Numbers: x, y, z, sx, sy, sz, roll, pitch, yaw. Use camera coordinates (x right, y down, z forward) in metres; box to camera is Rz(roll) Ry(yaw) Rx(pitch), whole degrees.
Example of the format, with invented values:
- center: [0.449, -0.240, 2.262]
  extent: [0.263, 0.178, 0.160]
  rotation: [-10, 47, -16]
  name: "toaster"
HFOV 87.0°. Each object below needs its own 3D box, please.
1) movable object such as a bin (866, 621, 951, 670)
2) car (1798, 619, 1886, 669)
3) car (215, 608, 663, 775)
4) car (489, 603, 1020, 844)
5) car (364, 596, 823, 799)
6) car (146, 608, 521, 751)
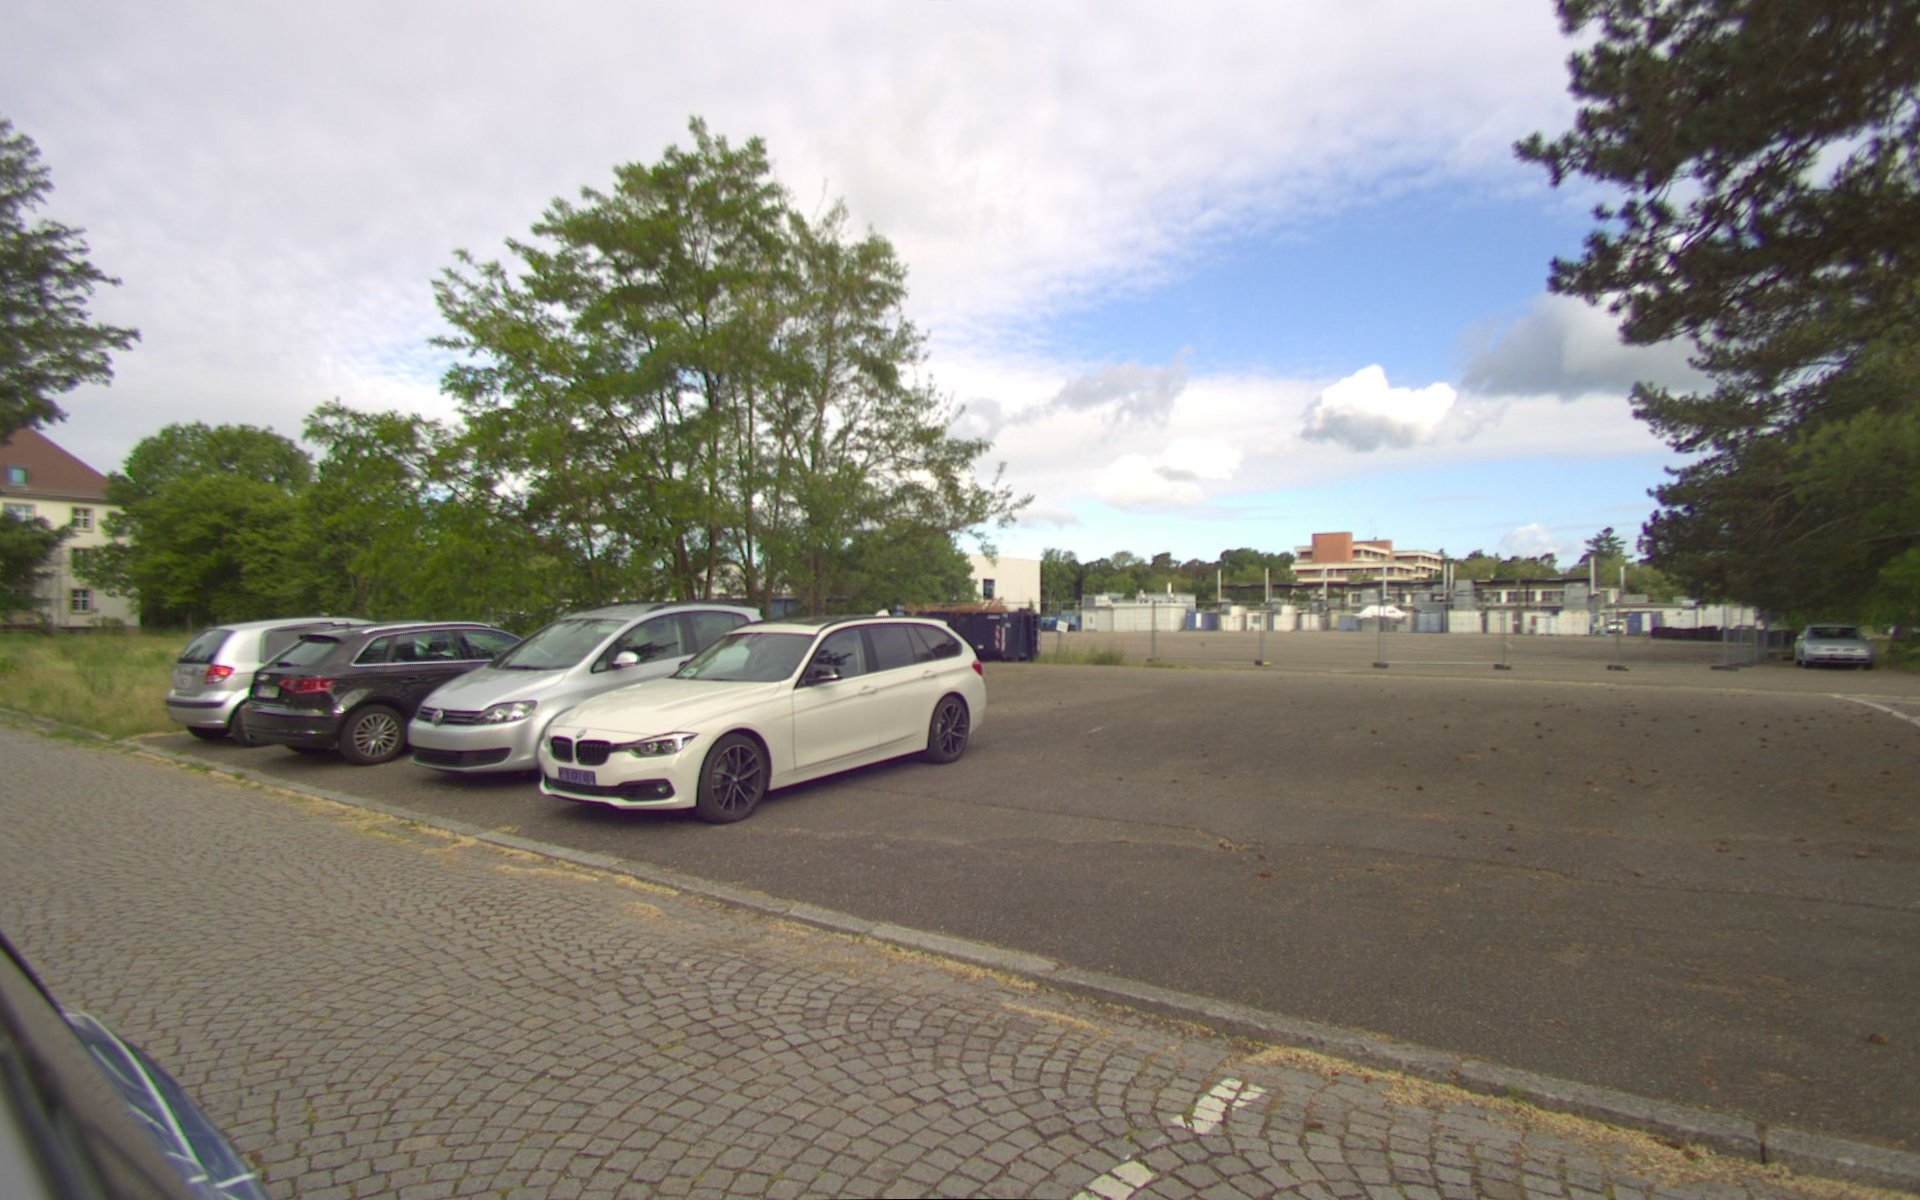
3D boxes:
- center: [-1.222, 1.091, 24.639]
  extent: [0.857, 1.134, 2.241]
  rotation: [-1, -2, 35]
  name: "movable object such as a bin"
- center: [28.402, 1.357, 32.696]
  extent: [1.732, 1.443, 4.111]
  rotation: [-1, 0, 36]
  name: "car"
- center: [-5.862, 0.900, 11.946]
  extent: [1.718, 1.435, 4.397]
  rotation: [-1, 1, 35]
  name: "car"
- center: [-1.491, 0.845, 9.133]
  extent: [1.862, 1.499, 4.698]
  rotation: [-2, 0, 35]
  name: "car"
- center: [-3.548, 0.805, 10.639]
  extent: [1.866, 1.610, 4.330]
  rotation: [-1, 0, 31]
  name: "car"
- center: [-8.091, 0.914, 13.425]
  extent: [1.581, 1.481, 3.917]
  rotation: [-1, 1, 34]
  name: "car"
